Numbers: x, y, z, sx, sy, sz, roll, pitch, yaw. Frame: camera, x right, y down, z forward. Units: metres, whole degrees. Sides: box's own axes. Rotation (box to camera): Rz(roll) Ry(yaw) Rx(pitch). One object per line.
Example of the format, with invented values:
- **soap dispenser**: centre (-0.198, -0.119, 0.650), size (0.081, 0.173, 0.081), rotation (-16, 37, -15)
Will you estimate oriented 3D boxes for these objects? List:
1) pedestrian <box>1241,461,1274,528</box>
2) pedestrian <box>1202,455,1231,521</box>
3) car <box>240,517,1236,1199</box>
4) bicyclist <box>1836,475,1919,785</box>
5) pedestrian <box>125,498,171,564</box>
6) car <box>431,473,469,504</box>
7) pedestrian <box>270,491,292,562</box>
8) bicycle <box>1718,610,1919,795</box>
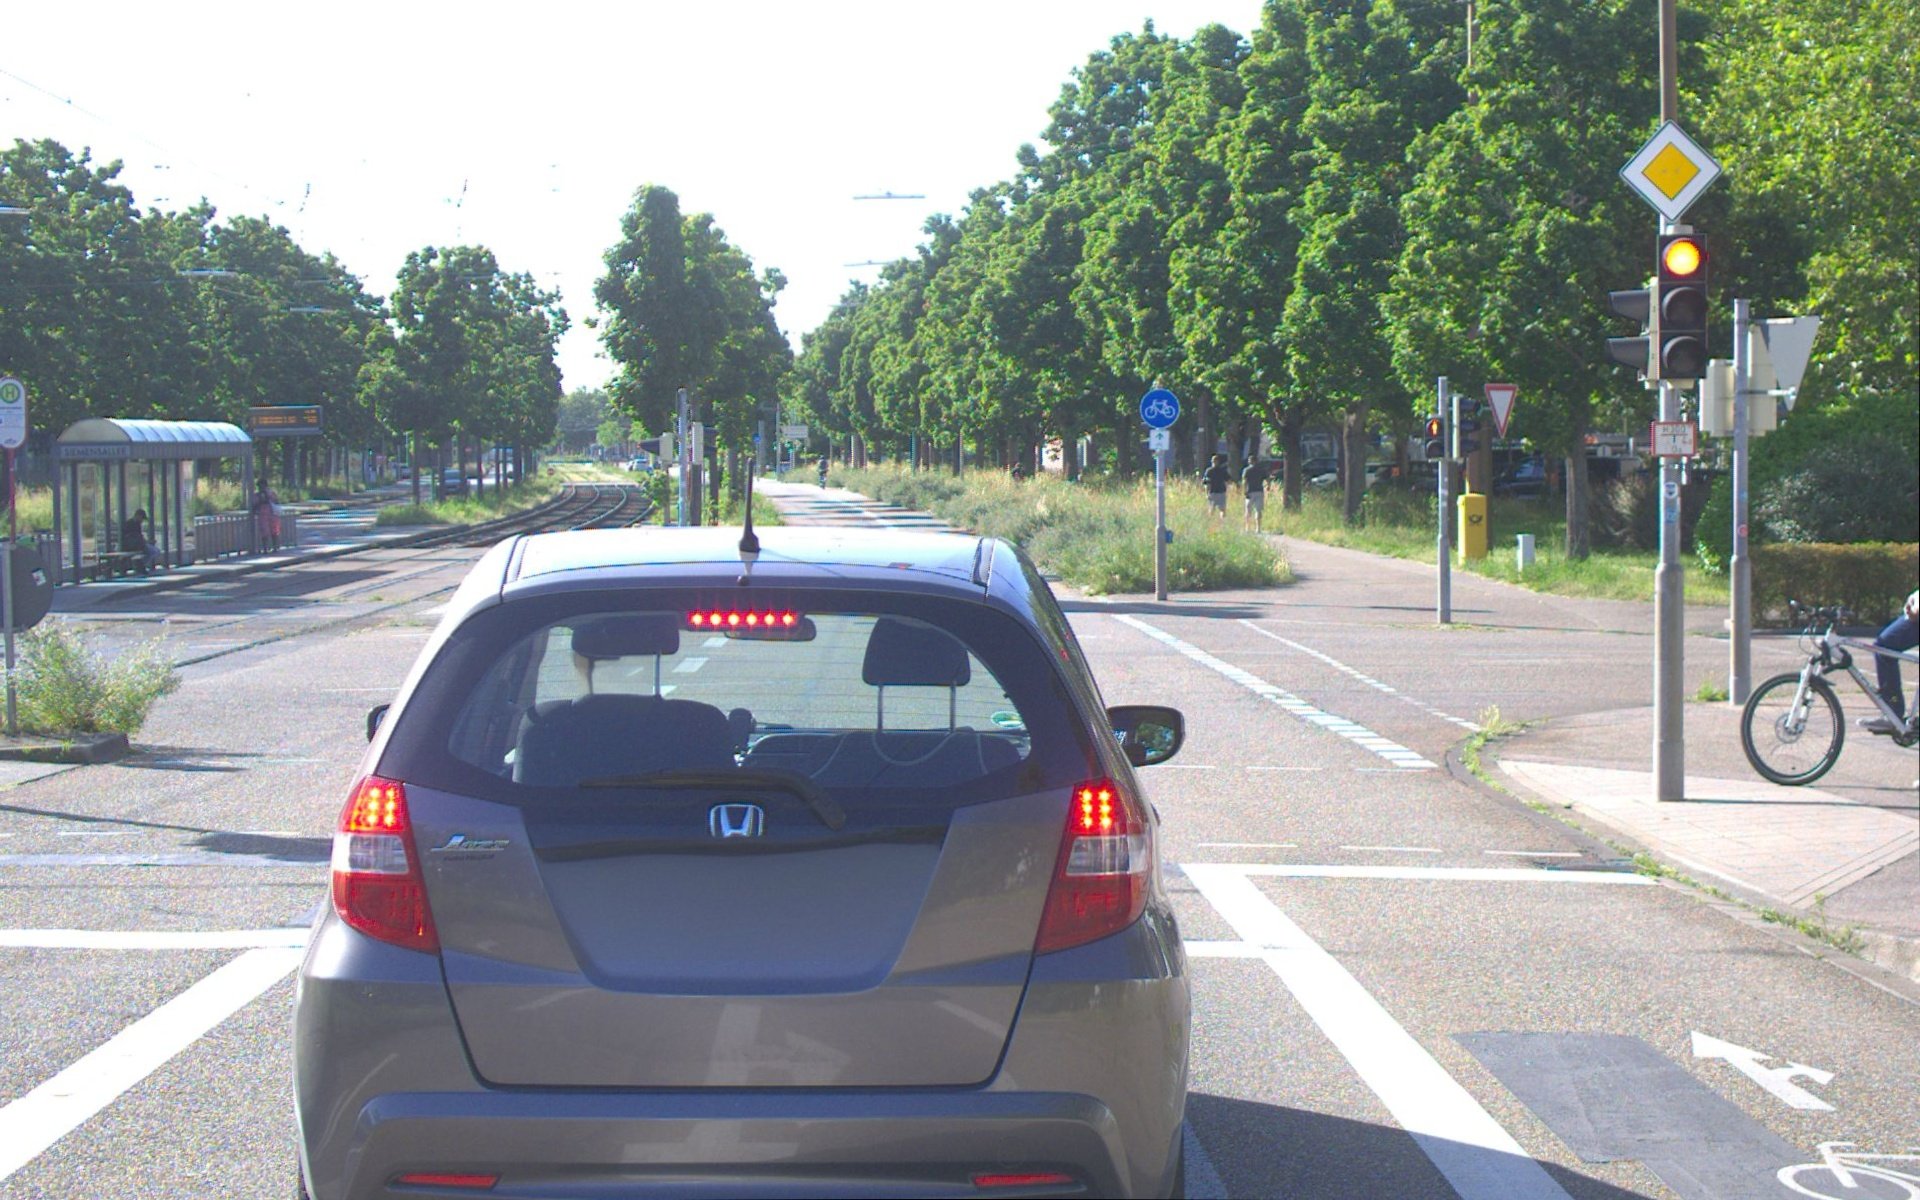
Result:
- **pedestrian**: centre (7.244, -2.570, 83.669), size (0.678, 1.604, 0.721), rotation (1, 1, -3)
- **pedestrian**: centre (6.246, -2.723, 83.686), size (0.567, 1.591, 0.666), rotation (1, 1, -4)
- **car**: centre (-0.385, 0.576, 7.934), size (1.707, 1.503, 4.000), rotation (1, 1, 0)
- **bicyclist**: centre (5.525, 0.159, 19.669), size (0.910, 1.739, 0.764), rotation (-1, 1, 10)
- **pedestrian**: centre (-15.560, -1.320, 65.899), size (0.721, 1.241, 0.711), rotation (-1, 1, -2)
- **car**: centre (-29.309, -6.407, 197.505), size (1.766, 1.732, 4.001), rotation (0, 1, -3)
- **pedestrian**: centre (-15.908, -1.719, 80.509), size (0.502, 1.670, 0.388), rotation (0, 1, -12)
- **bicycle**: centre (5.359, 0.568, 19.699), size (1.921, 0.994, 0.764), rotation (-2, 1, 10)
